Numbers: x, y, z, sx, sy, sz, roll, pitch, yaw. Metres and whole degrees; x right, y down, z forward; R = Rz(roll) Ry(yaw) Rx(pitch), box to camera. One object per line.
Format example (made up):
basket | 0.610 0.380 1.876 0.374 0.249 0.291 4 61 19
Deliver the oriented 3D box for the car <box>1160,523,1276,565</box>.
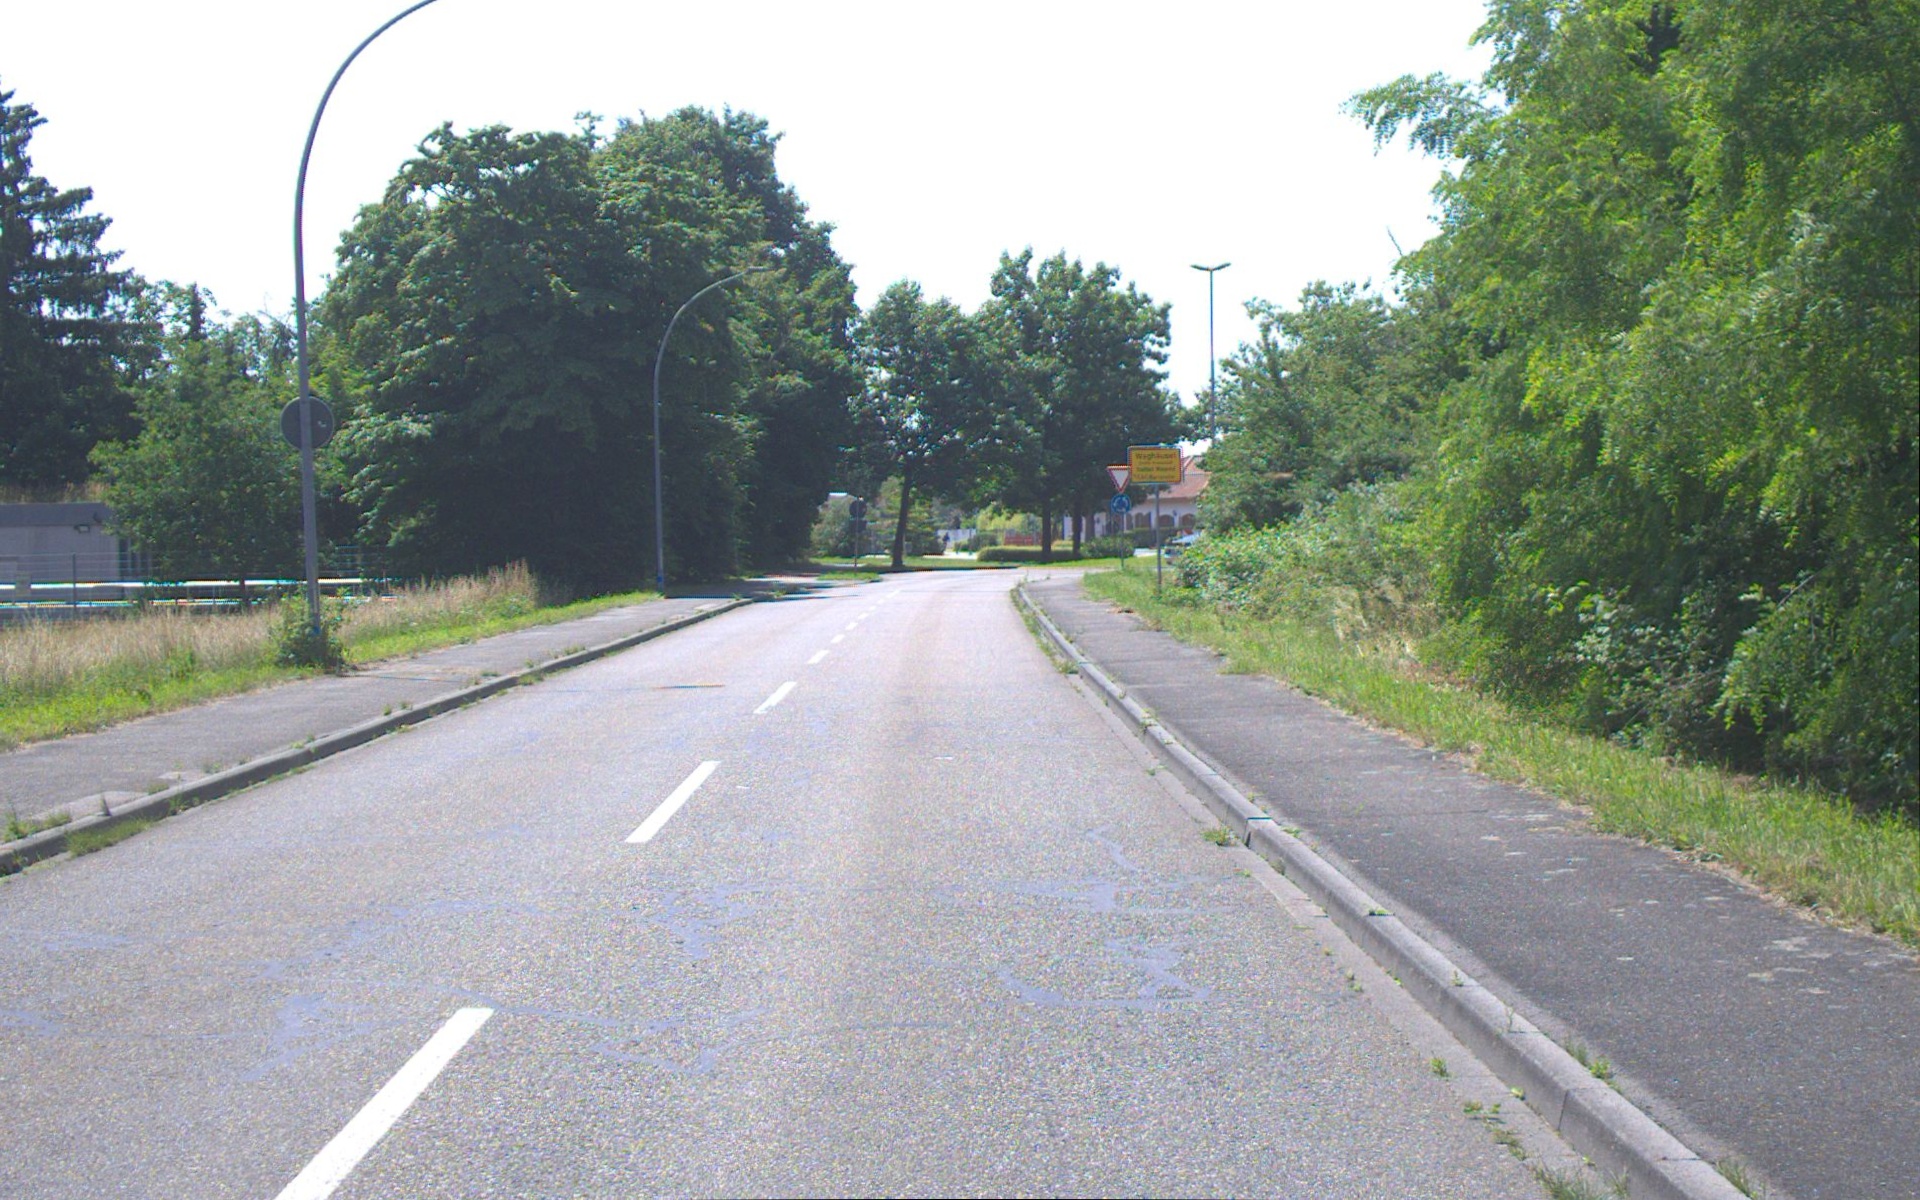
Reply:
car | 8.001 -1.736 106.396 3.547 1.284 1.619 -1 1 -44
